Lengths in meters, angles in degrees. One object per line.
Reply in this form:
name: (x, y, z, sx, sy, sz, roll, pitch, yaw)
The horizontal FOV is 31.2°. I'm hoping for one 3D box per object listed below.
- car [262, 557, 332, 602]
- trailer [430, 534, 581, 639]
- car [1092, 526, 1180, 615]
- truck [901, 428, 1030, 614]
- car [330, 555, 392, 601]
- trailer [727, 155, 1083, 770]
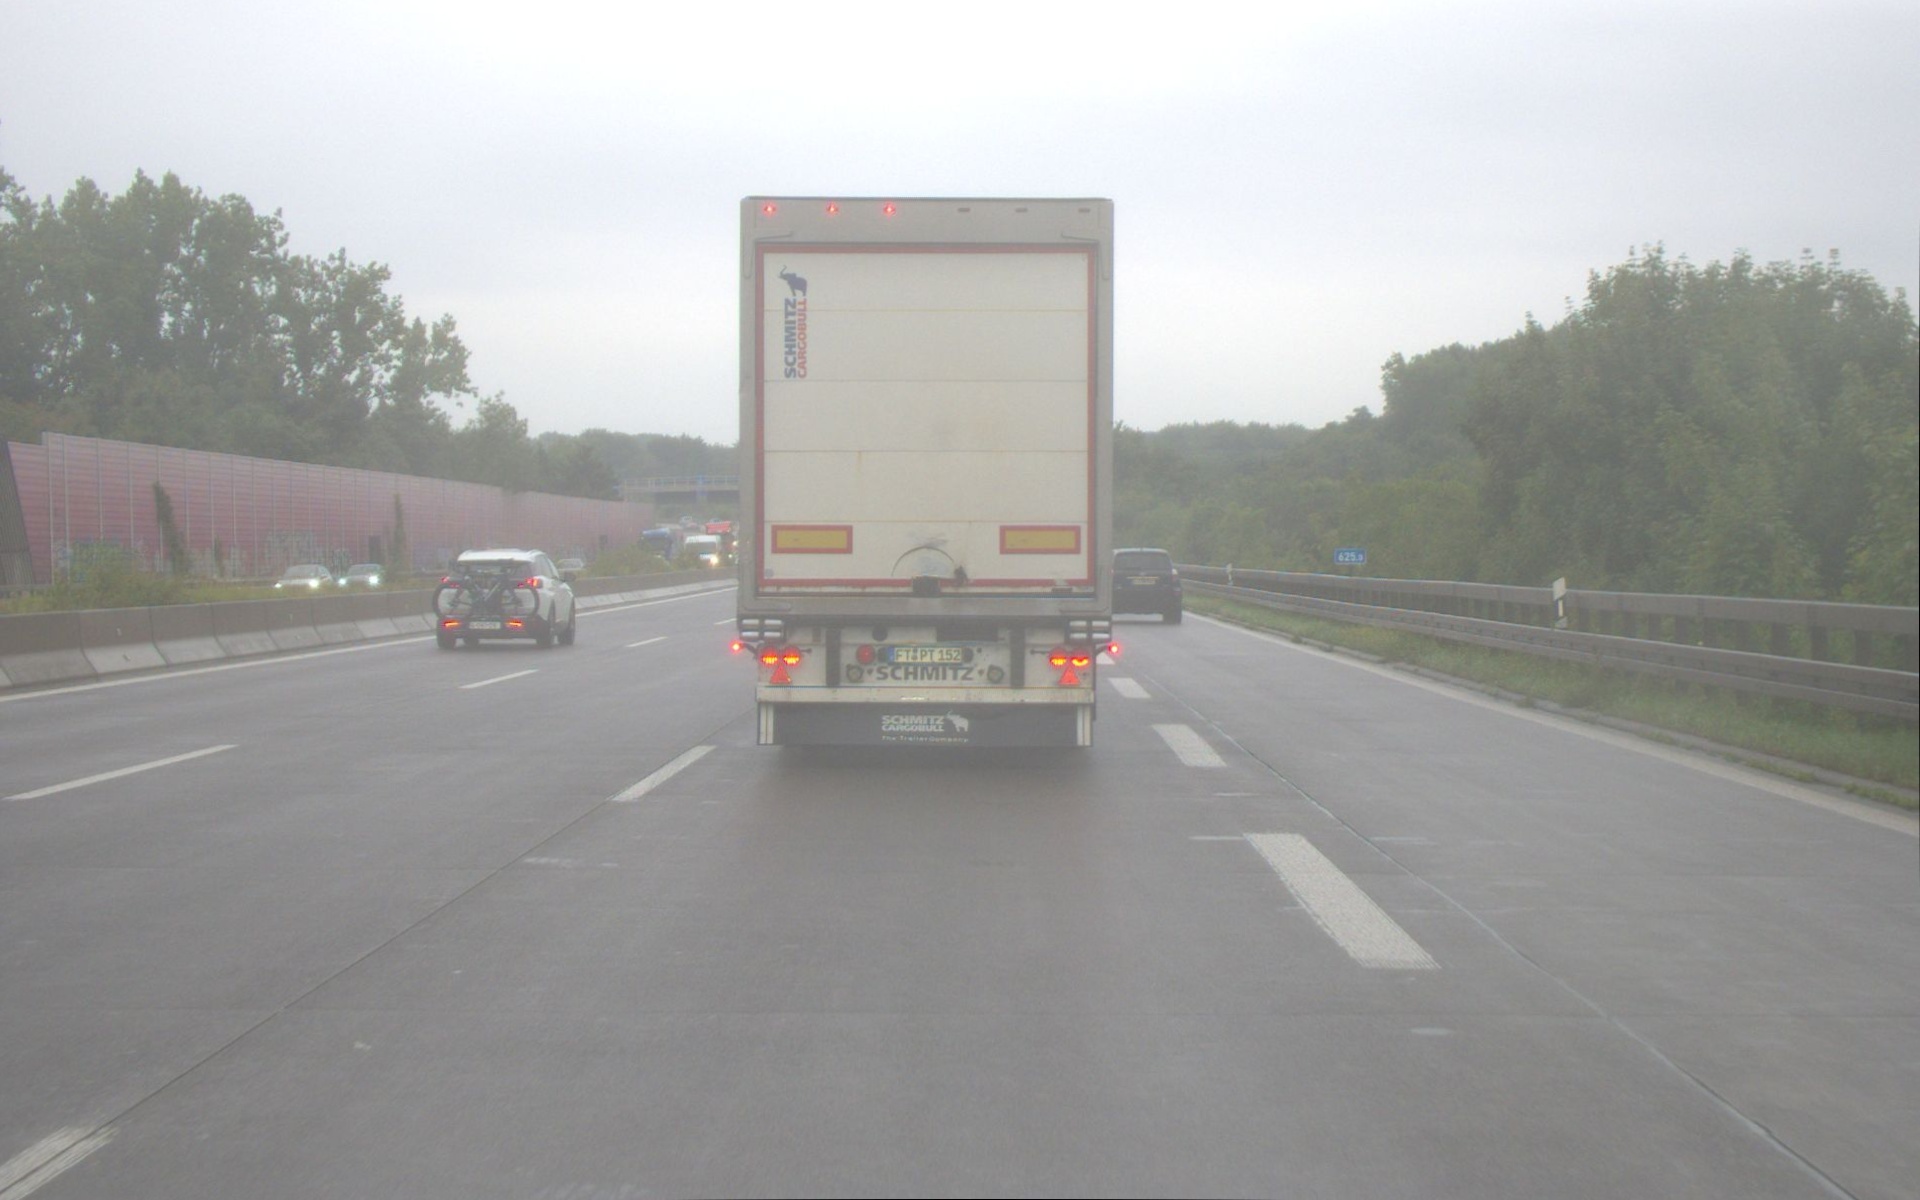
car: (-26.480, -0.836, 137.492, 1.993, 1.778, 4.290, 0, 1, 0)
trailer: (-7.341, -0.256, 55.875, 1.815, 1.619, 4.568, 0, 1, 1)
car: (3.971, -0.682, 78.092, 1.897, 1.943, 4.000, 1, 1, 2)
truck: (0.209, -2.318, 101.814, 3.534, 5.165, 9.893, 1, 1, 1)
car: (-26.627, -0.985, 153.016, 1.993, 2.007, 4.000, 0, 1, 1)
trailer: (-0.312, -1.104, 30.830, 2.342, 4.143, 14.827, 1, 1, 0)
